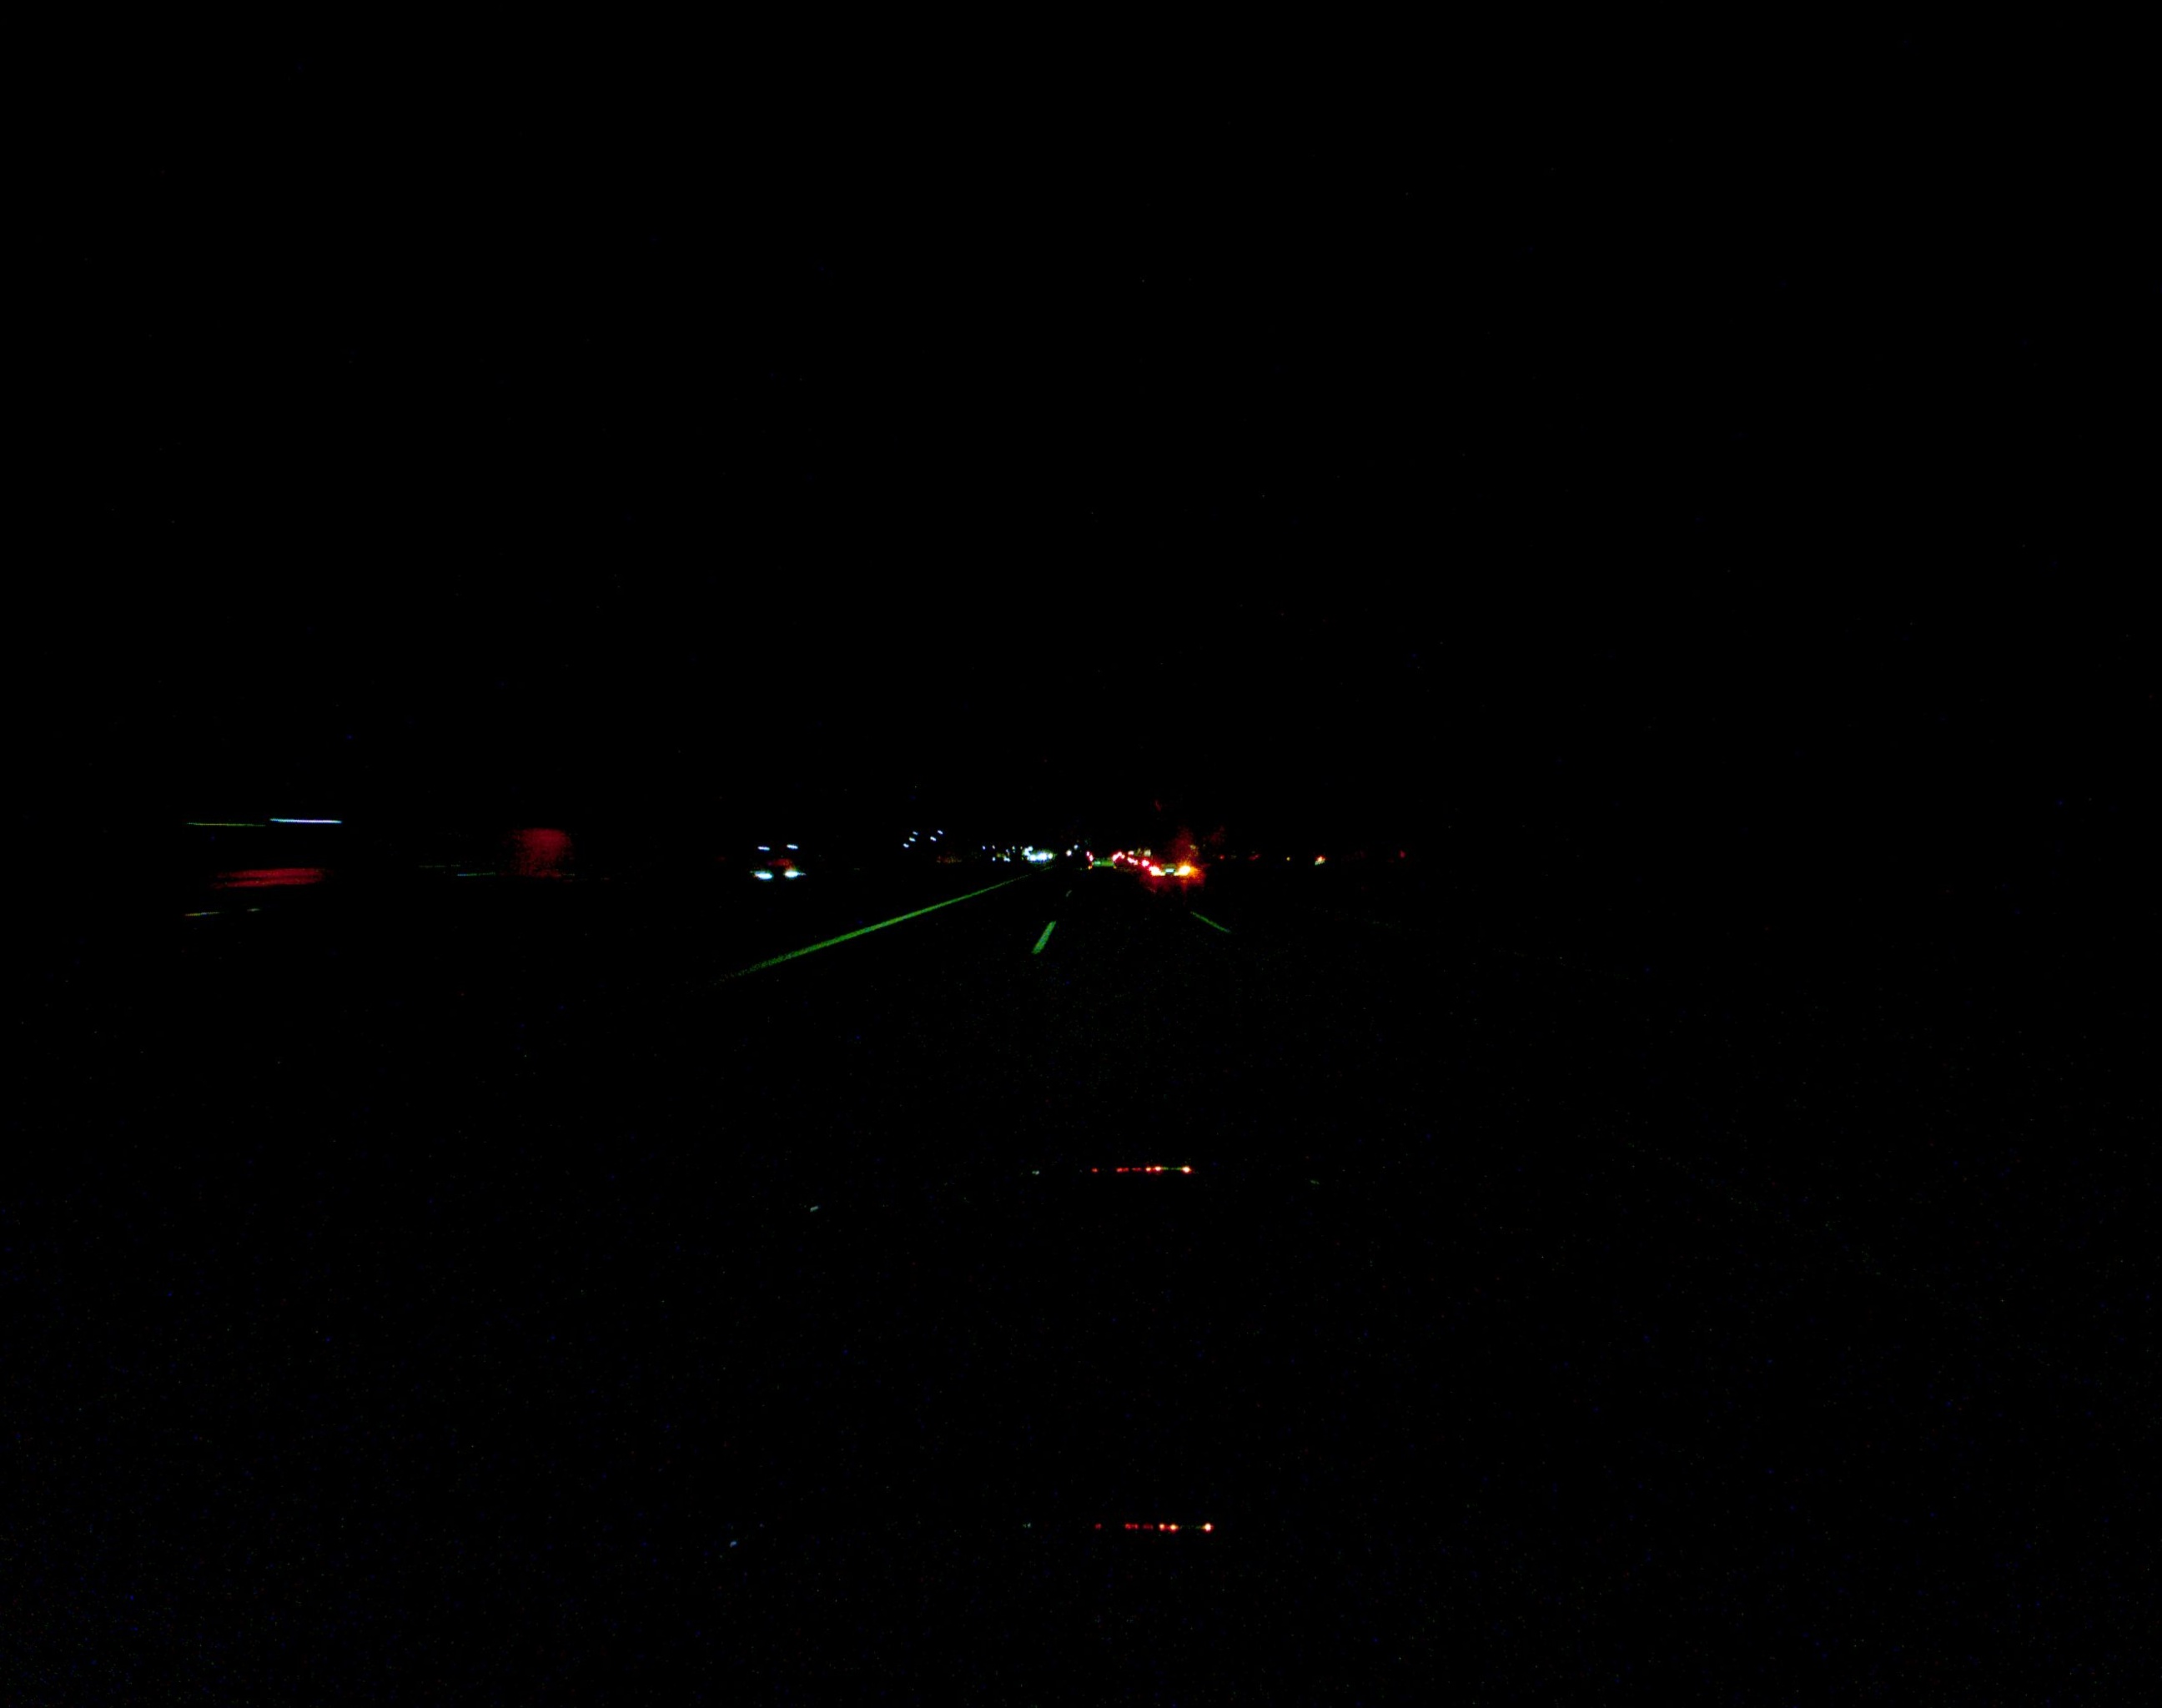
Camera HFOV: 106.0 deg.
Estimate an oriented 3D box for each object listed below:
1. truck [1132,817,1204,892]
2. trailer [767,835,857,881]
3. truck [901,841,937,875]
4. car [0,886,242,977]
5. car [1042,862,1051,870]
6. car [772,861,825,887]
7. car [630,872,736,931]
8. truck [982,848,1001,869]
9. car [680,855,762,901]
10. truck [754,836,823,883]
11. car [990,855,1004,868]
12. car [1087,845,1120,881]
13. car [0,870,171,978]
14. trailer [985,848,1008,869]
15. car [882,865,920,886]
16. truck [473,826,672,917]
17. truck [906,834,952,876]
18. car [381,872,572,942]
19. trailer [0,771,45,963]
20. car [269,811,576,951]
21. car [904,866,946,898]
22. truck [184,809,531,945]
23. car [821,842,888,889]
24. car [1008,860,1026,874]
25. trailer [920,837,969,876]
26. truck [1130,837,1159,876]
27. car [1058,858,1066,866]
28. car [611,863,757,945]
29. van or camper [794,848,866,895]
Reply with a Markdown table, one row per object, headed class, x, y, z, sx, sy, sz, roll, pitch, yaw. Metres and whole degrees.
| class | x | y | z | sx | sy | sz | roll | pitch | yaw |
| --- | --- | --- | --- | --- | --- | --- | --- | --- | --- |
| truck | 6.325 | 0.290 | 63.486 | 3.900 | 4.628 | 21.024 | -3 | -2 | 2 |
| trailer | -22.286 | 0.393 | 68.511 | 2.950 | 3.442 | 13.436 | 0 | -1 | 1 |
| truck | -18.084 | 0.443 | 91.317 | 2.866 | 3.673 | 6.047 | 0 | -1 | -1 |
| car | -17.917 | 1.313 | 14.589 | 1.565 | 1.354 | 4.000 | -1 | -1 | 1 |
| car | -8.759 | 2.968 | 205.968 | 1.989 | 2.014 | 3.994 | 1 | -2 | -4 |
| car | -18.664 | 1.335 | 53.944 | 1.987 | 1.646 | 4.311 | 1 | -2 | -1 |
| car | -14.837 | 1.731 | 30.615 | 1.987 | 2.014 | 3.998 | 1 | -2 | -1 |
| truck | -17.126 | 0.928 | 156.485 | 2.850 | 3.687 | 6.602 | 1 | -2 | 1 |
| car | -22.477 | 1.446 | 51.214 | 2.307 | 2.718 | 6.355 | 1 | -1 | -1 |
| truck | -22.342 | 0.457 | 62.589 | 2.950 | 3.442 | 6.361 | 0 | -1 | 0 |
| car | -13.762 | 1.245 | 133.923 | 1.989 | 2.014 | 3.994 | 1 | -2 | -4 |
| car | 1.830 | 0.758 | 63.876 | 2.327 | 2.640 | 5.252 | -1 | -2 | 4 |
| car | -14.504 | 0.912 | 10.216 | 1.564 | 1.354 | 4.003 | -1 | -1 | 3 |
| trailer | -17.001 | 1.020 | 164.587 | 2.875 | 3.850 | 15.067 | 1 | -2 | 1 |
| car | -13.858 | 1.679 | 63.009 | 1.723 | 1.486 | 4.647 | 1 | -2 | 2 |
| truck | -18.762 | 0.689 | 30.778 | 2.753 | 2.986 | 7.402 | -1 | -2 | 1 |
| truck | -13.942 | 0.159 | 75.402 | 2.865 | 3.674 | 6.778 | 1 | -2 | 0 |
| car | -14.389 | 1.218 | 19.715 | 1.694 | 1.486 | 3.974 | 1 | -2 | -2 |
| trailer | -22.162 | 0.194 | 9.659 | 2.873 | 3.676 | 13.130 | -1 | -1 | 0 |
| car | -10.890 | 0.453 | 13.954 | 1.988 | 2.014 | 3.996 | 1 | -2 | -2 |
| car | -10.395 | 1.853 | 54.443 | 1.987 | 2.014 | 3.998 | 1 | -2 | -1 |
| truck | -18.662 | 0.618 | 21.916 | 2.547 | 2.986 | 7.452 | -1 | -2 | 1 |
| car | -10.486 | 0.574 | 37.974 | 1.987 | 2.014 | 3.998 | 1 | -2 | -1 |
| car | -9.532 | 1.971 | 121.151 | 1.986 | 2.014 | 5.326 | 1 | -2 | 2 |
| trailer | -13.888 | 0.411 | 83.866 | 2.876 | 3.672 | 12.212 | 1 | -2 | 0 |
| truck | 7.798 | 0.347 | 101.600 | 3.330 | 4.476 | 13.919 | 0 | 0 | 3 |
| car | -4.761 | 2.021 | 205.327 | 1.989 | 2.014 | 3.994 | 1 | -2 | -4 |
| car | -10.711 | 1.298 | 22.328 | 1.987 | 2.014 | 3.998 | 1 | -2 | -1 |
| van or camper | -15.100 | 1.045 | 49.487 | 2.077 | 2.632 | 7.601 | -1 | -1 | -1 |
